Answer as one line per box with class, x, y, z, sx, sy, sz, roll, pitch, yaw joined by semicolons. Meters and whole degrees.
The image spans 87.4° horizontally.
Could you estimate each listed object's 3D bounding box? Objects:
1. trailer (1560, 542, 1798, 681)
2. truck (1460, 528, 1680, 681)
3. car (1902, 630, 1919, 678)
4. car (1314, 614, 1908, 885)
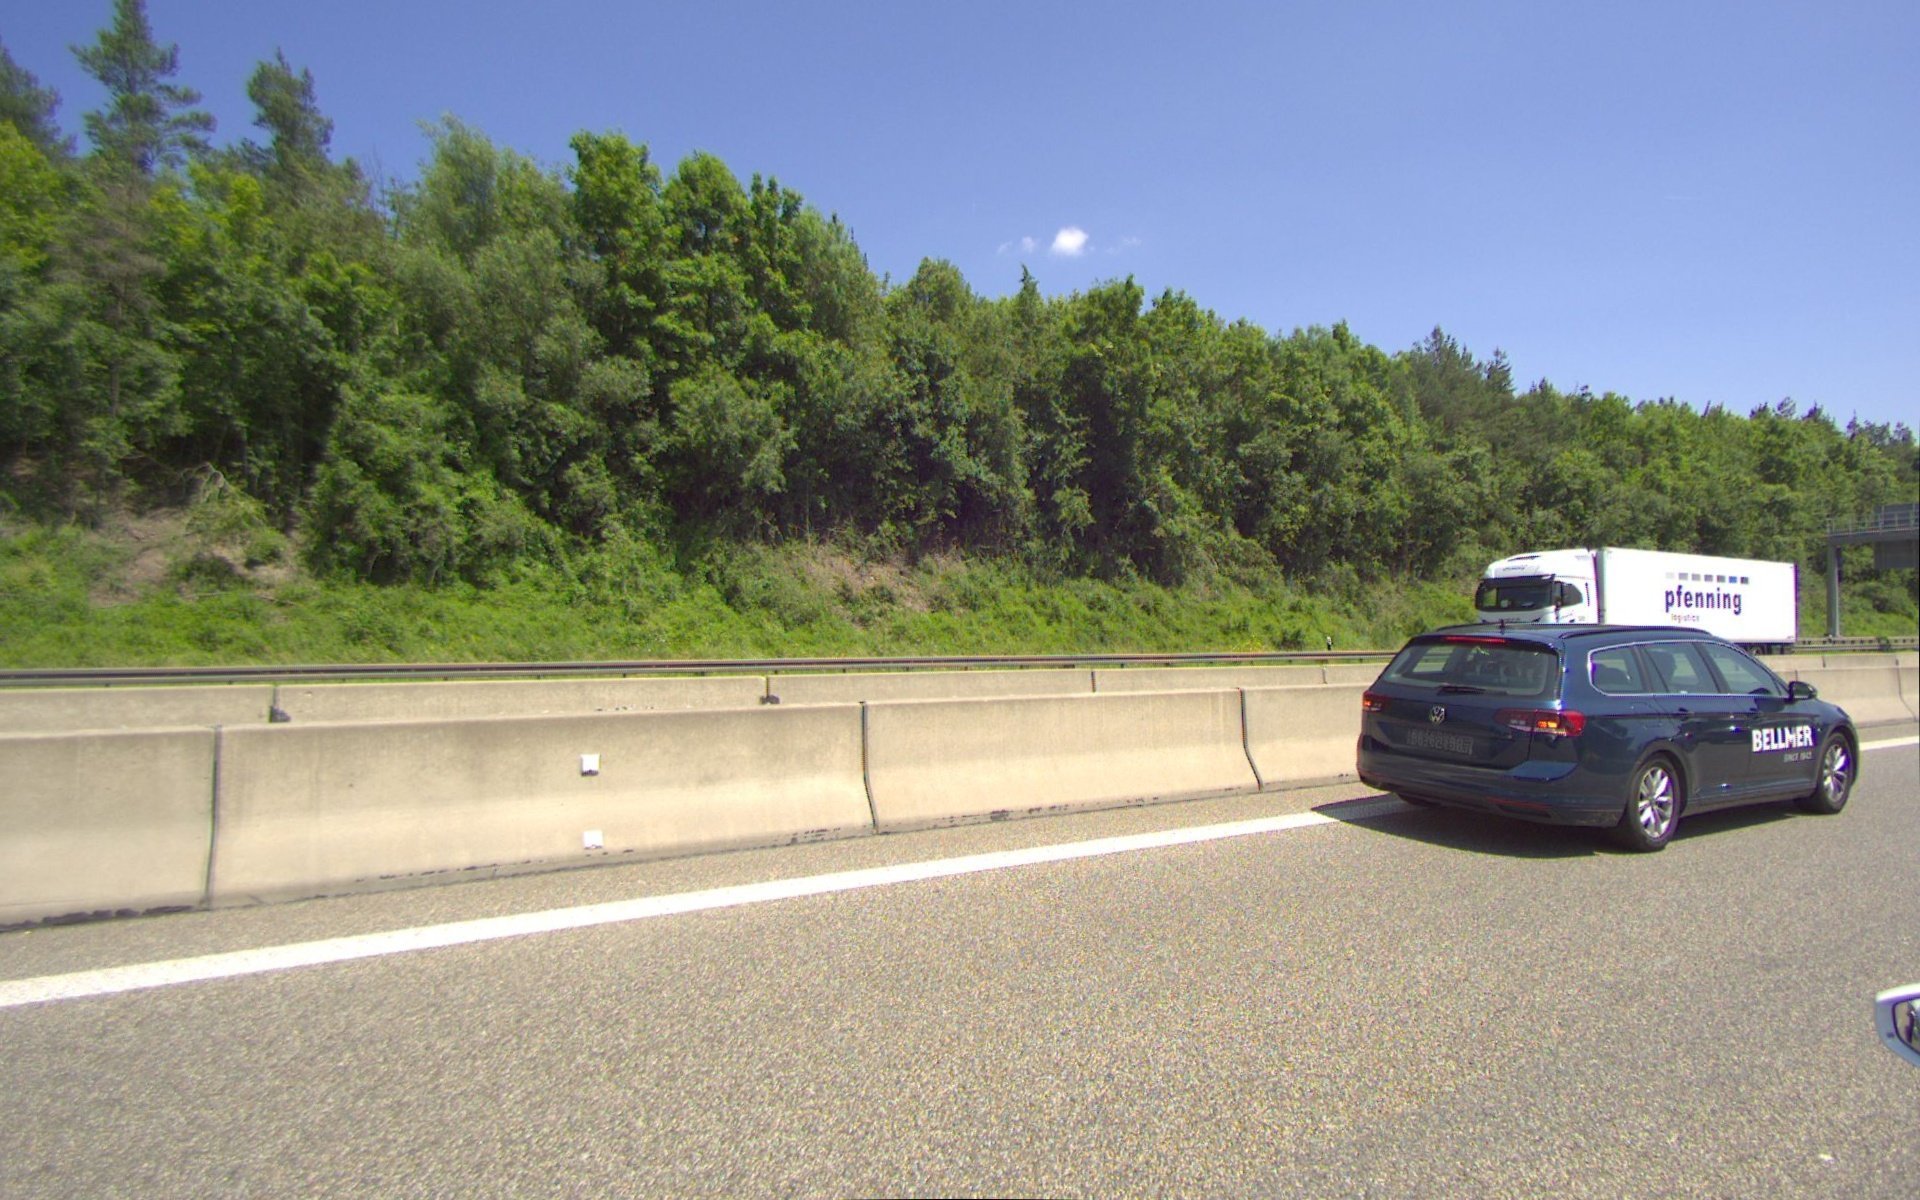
trailer;26.503;0.553;36.780;10.690;4.541;2.935;2;0;-30
truck;20.080;0.255;32.969;7.431;4.541;2.935;2;0;-31
car;38.458;2.138;38.615;4.396;1.786;1.985;2;0;-28
car;5.014;0.909;7.578;4.623;1.469;1.865;2;0;-30
